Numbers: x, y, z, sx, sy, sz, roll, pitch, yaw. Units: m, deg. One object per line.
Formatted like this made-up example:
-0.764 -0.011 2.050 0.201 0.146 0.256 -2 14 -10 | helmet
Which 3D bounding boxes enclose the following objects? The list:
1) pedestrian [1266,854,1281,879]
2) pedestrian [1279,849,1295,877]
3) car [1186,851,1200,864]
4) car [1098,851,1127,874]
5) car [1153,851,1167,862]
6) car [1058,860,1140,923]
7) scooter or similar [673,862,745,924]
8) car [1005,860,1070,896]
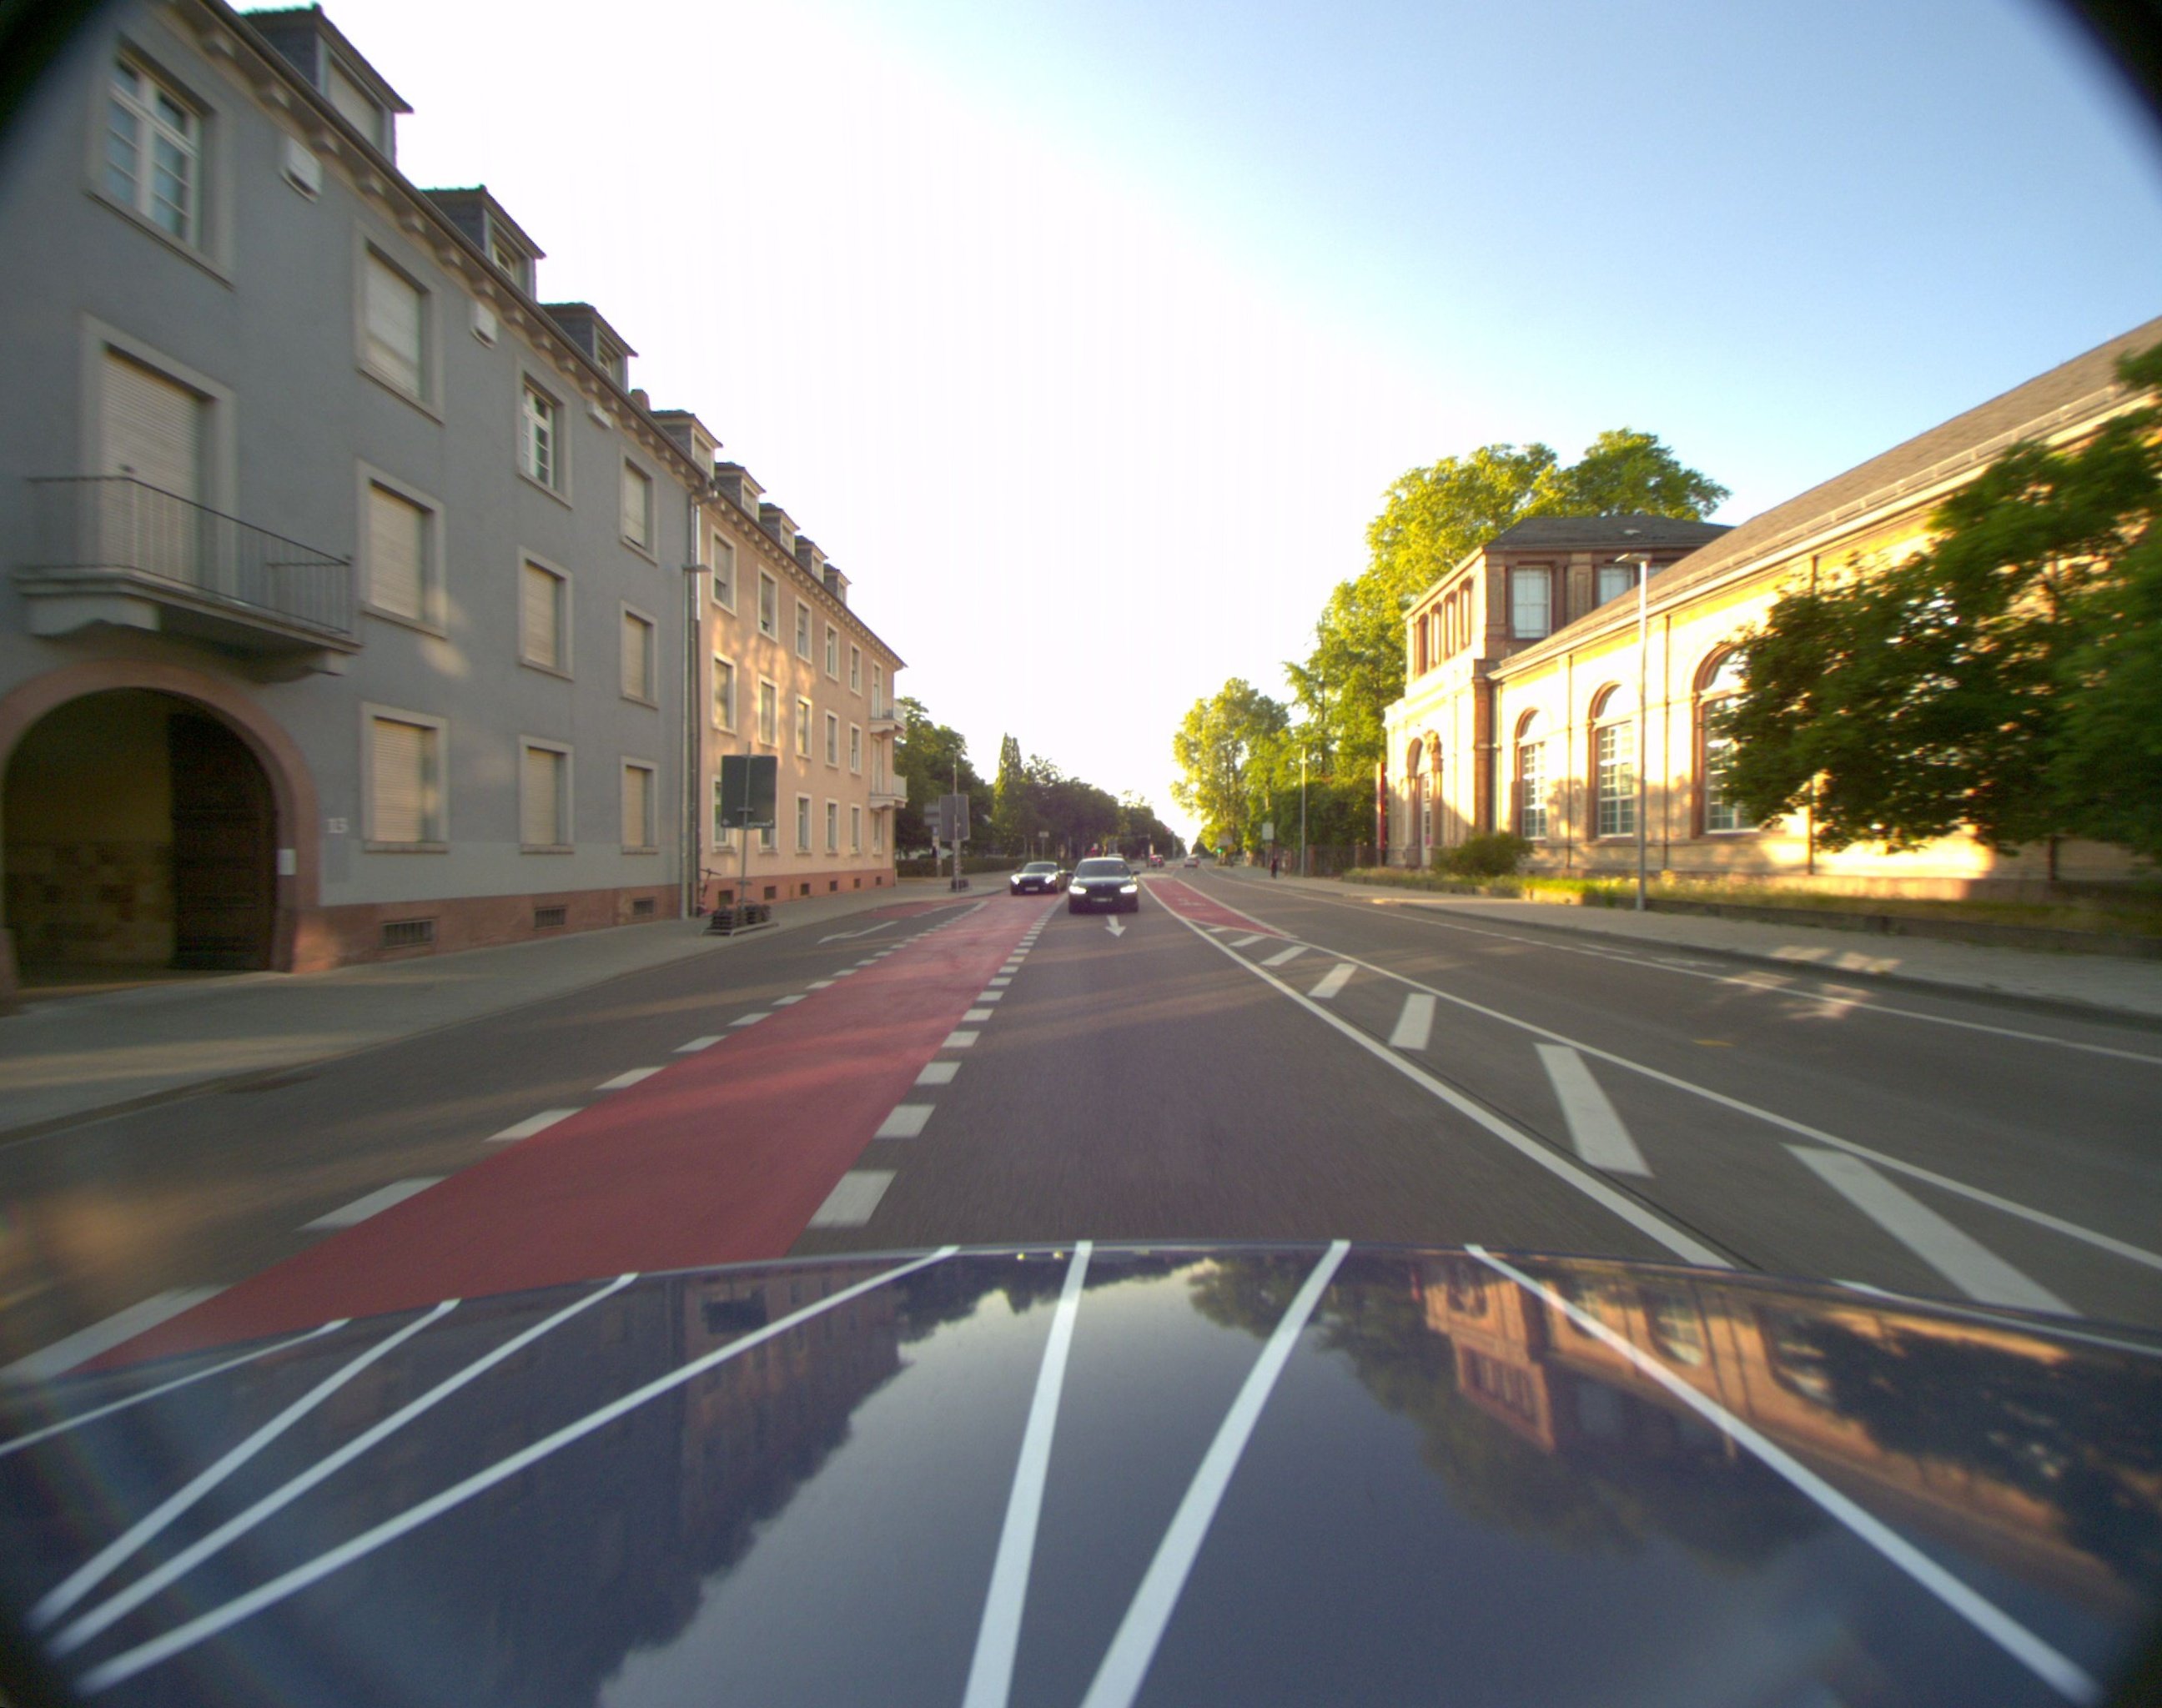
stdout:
12.132 0.765 47.789 0.675 1.504 0.836 -4 -1 5 | pedestrian
12.884 0.565 47.522 0.807 1.728 0.851 0 1 25 | pedestrian
15.360 0.485 104.289 1.919 1.674 4.002 0 0 8 | car
2.542 0.669 62.007 1.839 1.674 4.221 -2 1 -4 | car
10.243 0.307 98.461 1.775 1.455 4.001 1 0 5 | car
0.553 0.929 20.685 1.963 1.379 4.781 -1 1 3 | car
-9.346 0.941 19.163 0.726 1.450 1.673 2 1 11 | scooter or similar
-1.746 0.962 32.132 2.183 1.293 4.358 -2 0 4 | car
